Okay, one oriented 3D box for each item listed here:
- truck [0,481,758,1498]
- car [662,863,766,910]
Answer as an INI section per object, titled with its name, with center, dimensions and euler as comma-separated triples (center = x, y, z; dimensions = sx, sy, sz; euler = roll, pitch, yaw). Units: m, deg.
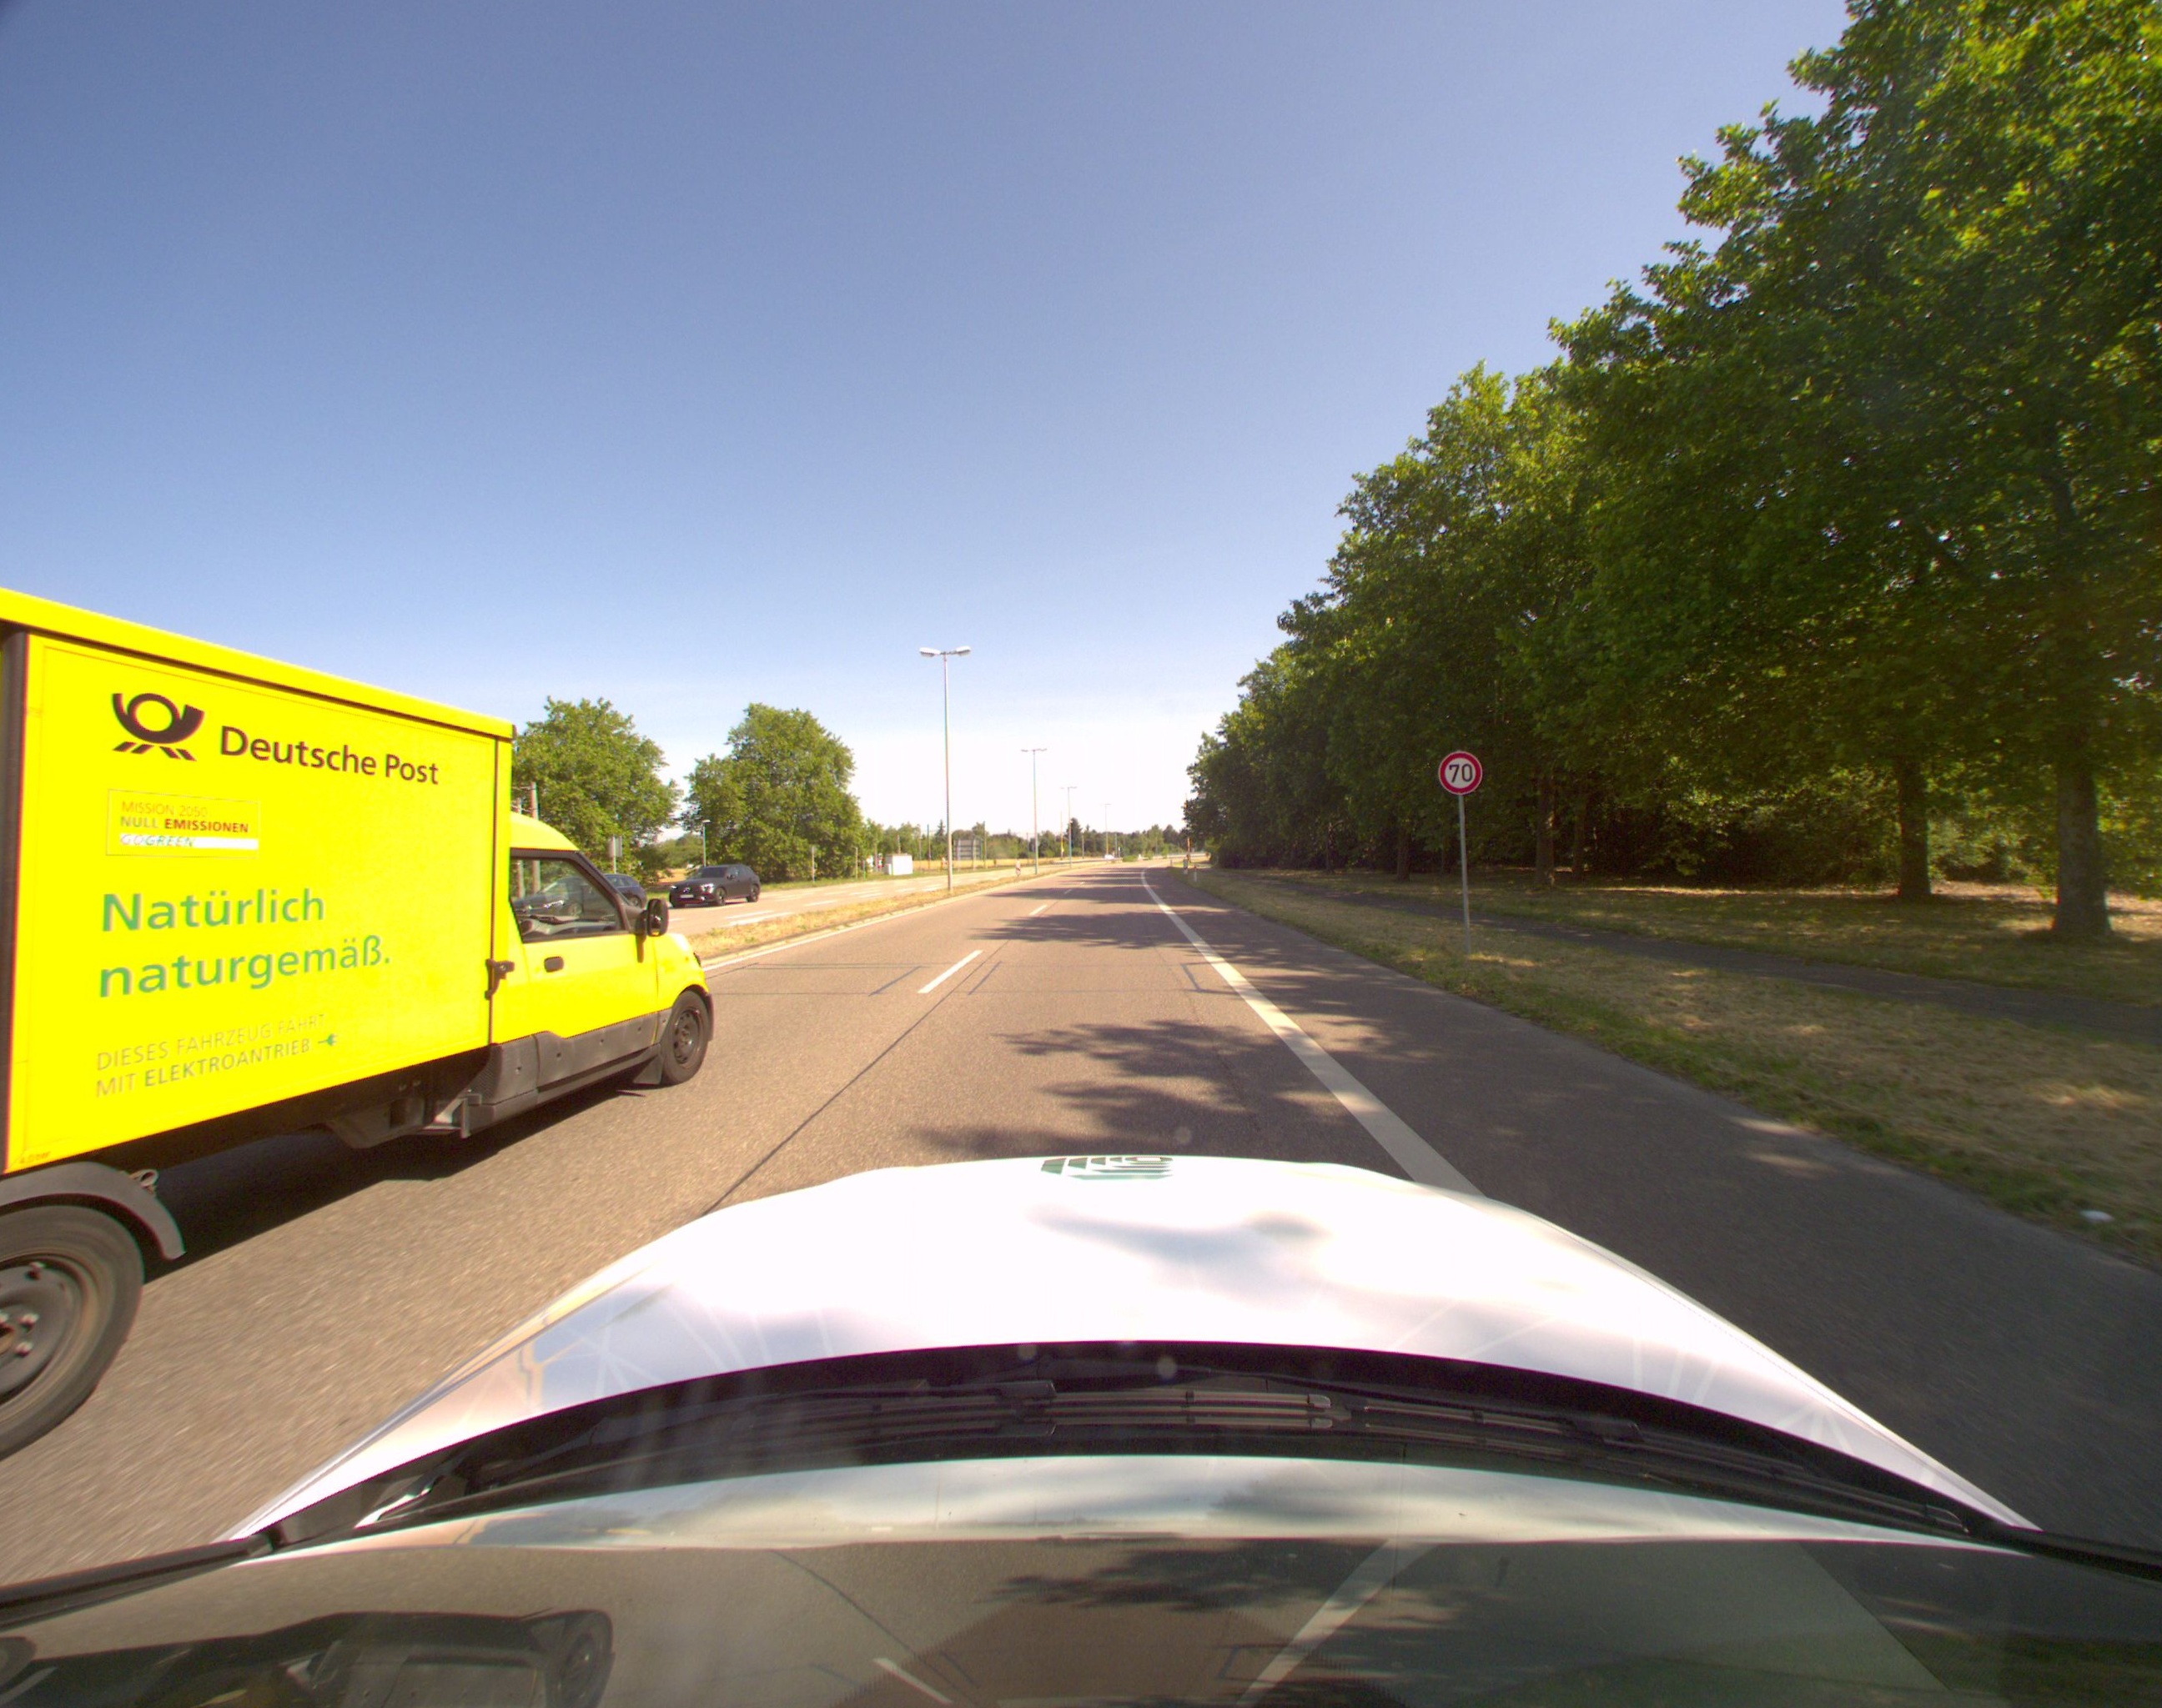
[truck]
center = -3.640, 0.337, 3.412
dimensions = 2.104, 2.457, 5.918
euler = -1, 0, 1
[car]
center = -14.815, 1.261, 33.203
dimensions = 1.974, 1.660, 4.557
euler = -2, 0, 2
